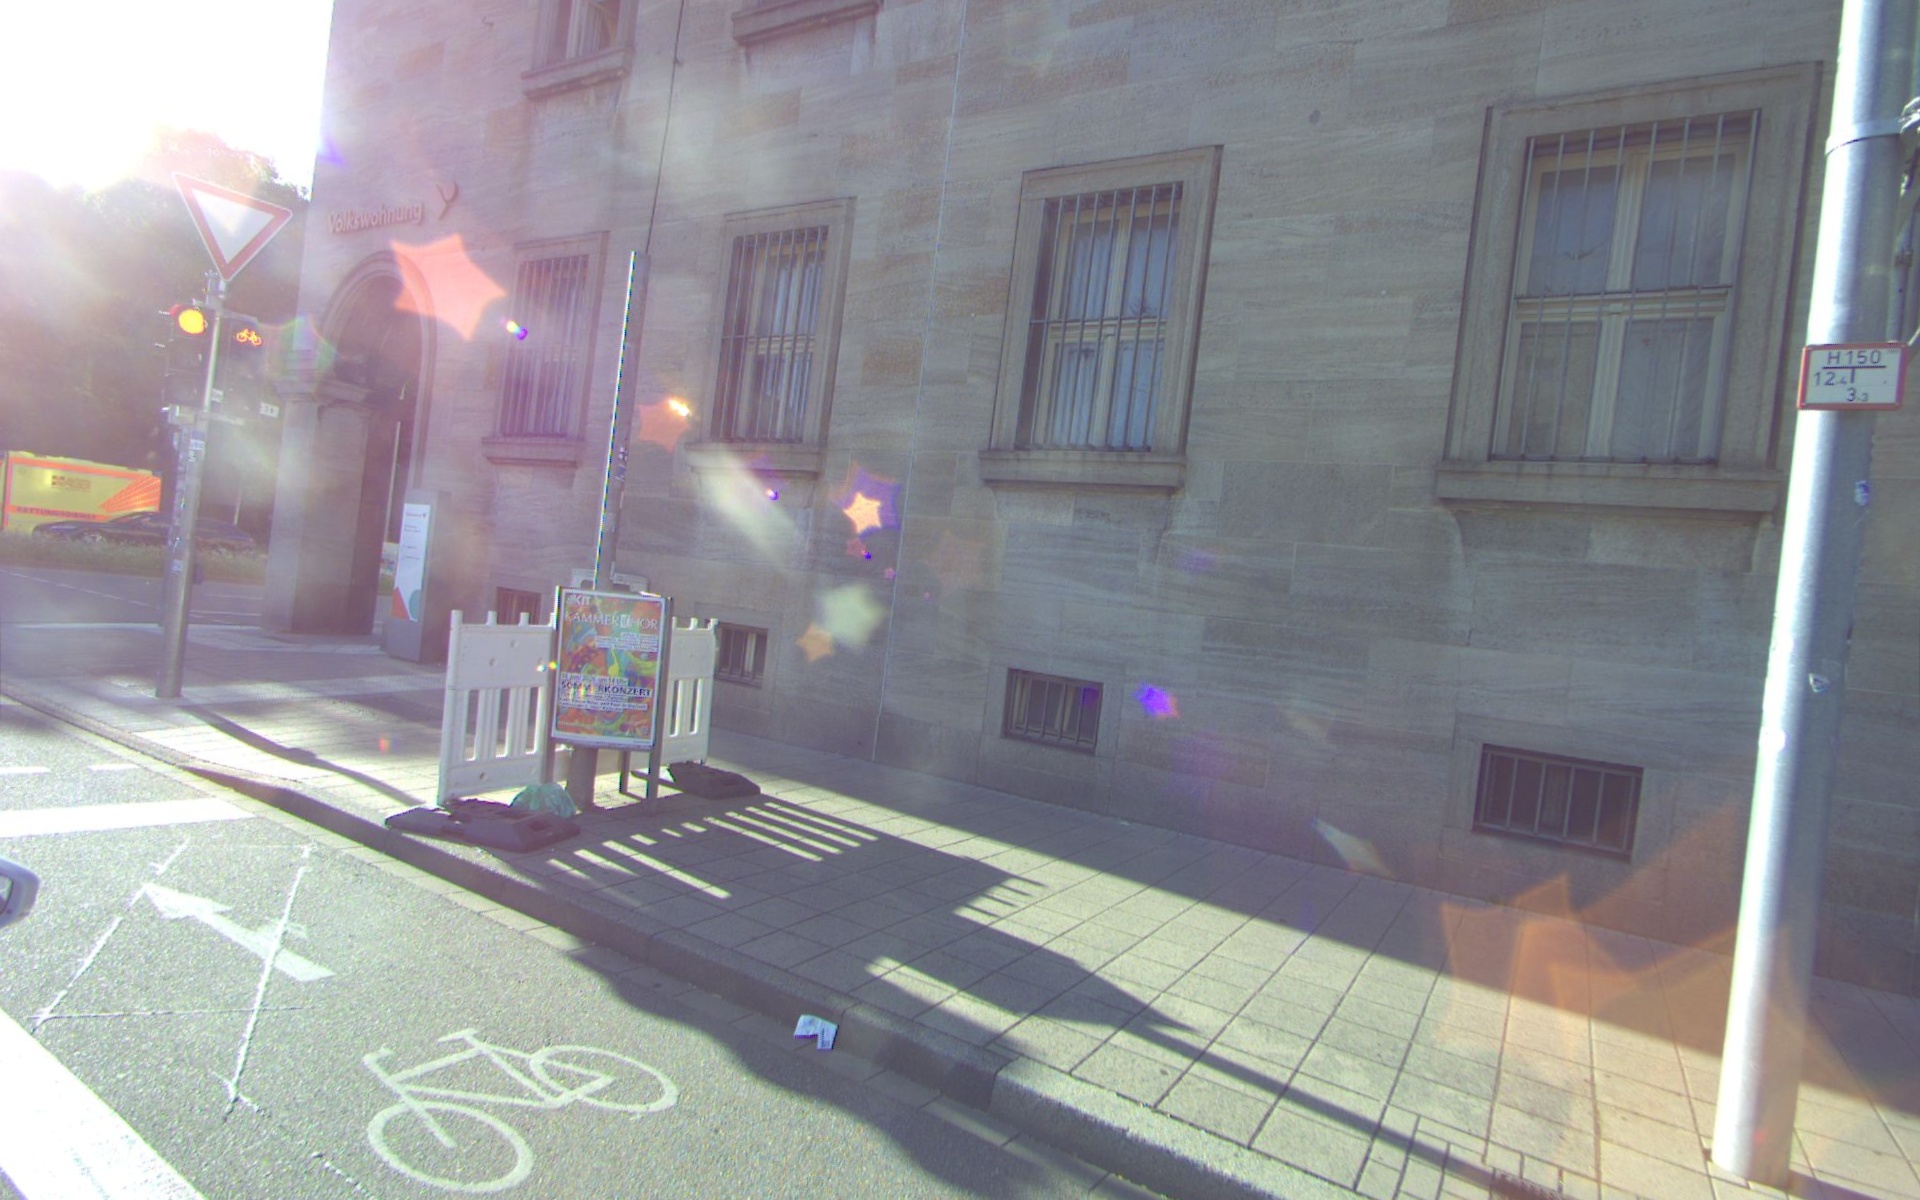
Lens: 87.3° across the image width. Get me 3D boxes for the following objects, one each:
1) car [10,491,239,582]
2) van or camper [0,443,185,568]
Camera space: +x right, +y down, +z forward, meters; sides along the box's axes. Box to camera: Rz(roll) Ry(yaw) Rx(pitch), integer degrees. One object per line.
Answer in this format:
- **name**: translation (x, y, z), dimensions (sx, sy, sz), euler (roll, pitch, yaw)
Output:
- **car**: translation (-22.670, -1.676, 27.489), dimensions (1.857, 1.665, 4.324), euler (6, -3, 32)
- **van or camper**: translation (-27.723, -2.954, 29.858), dimensions (2.866, 2.893, 6.716), euler (6, -3, 36)
